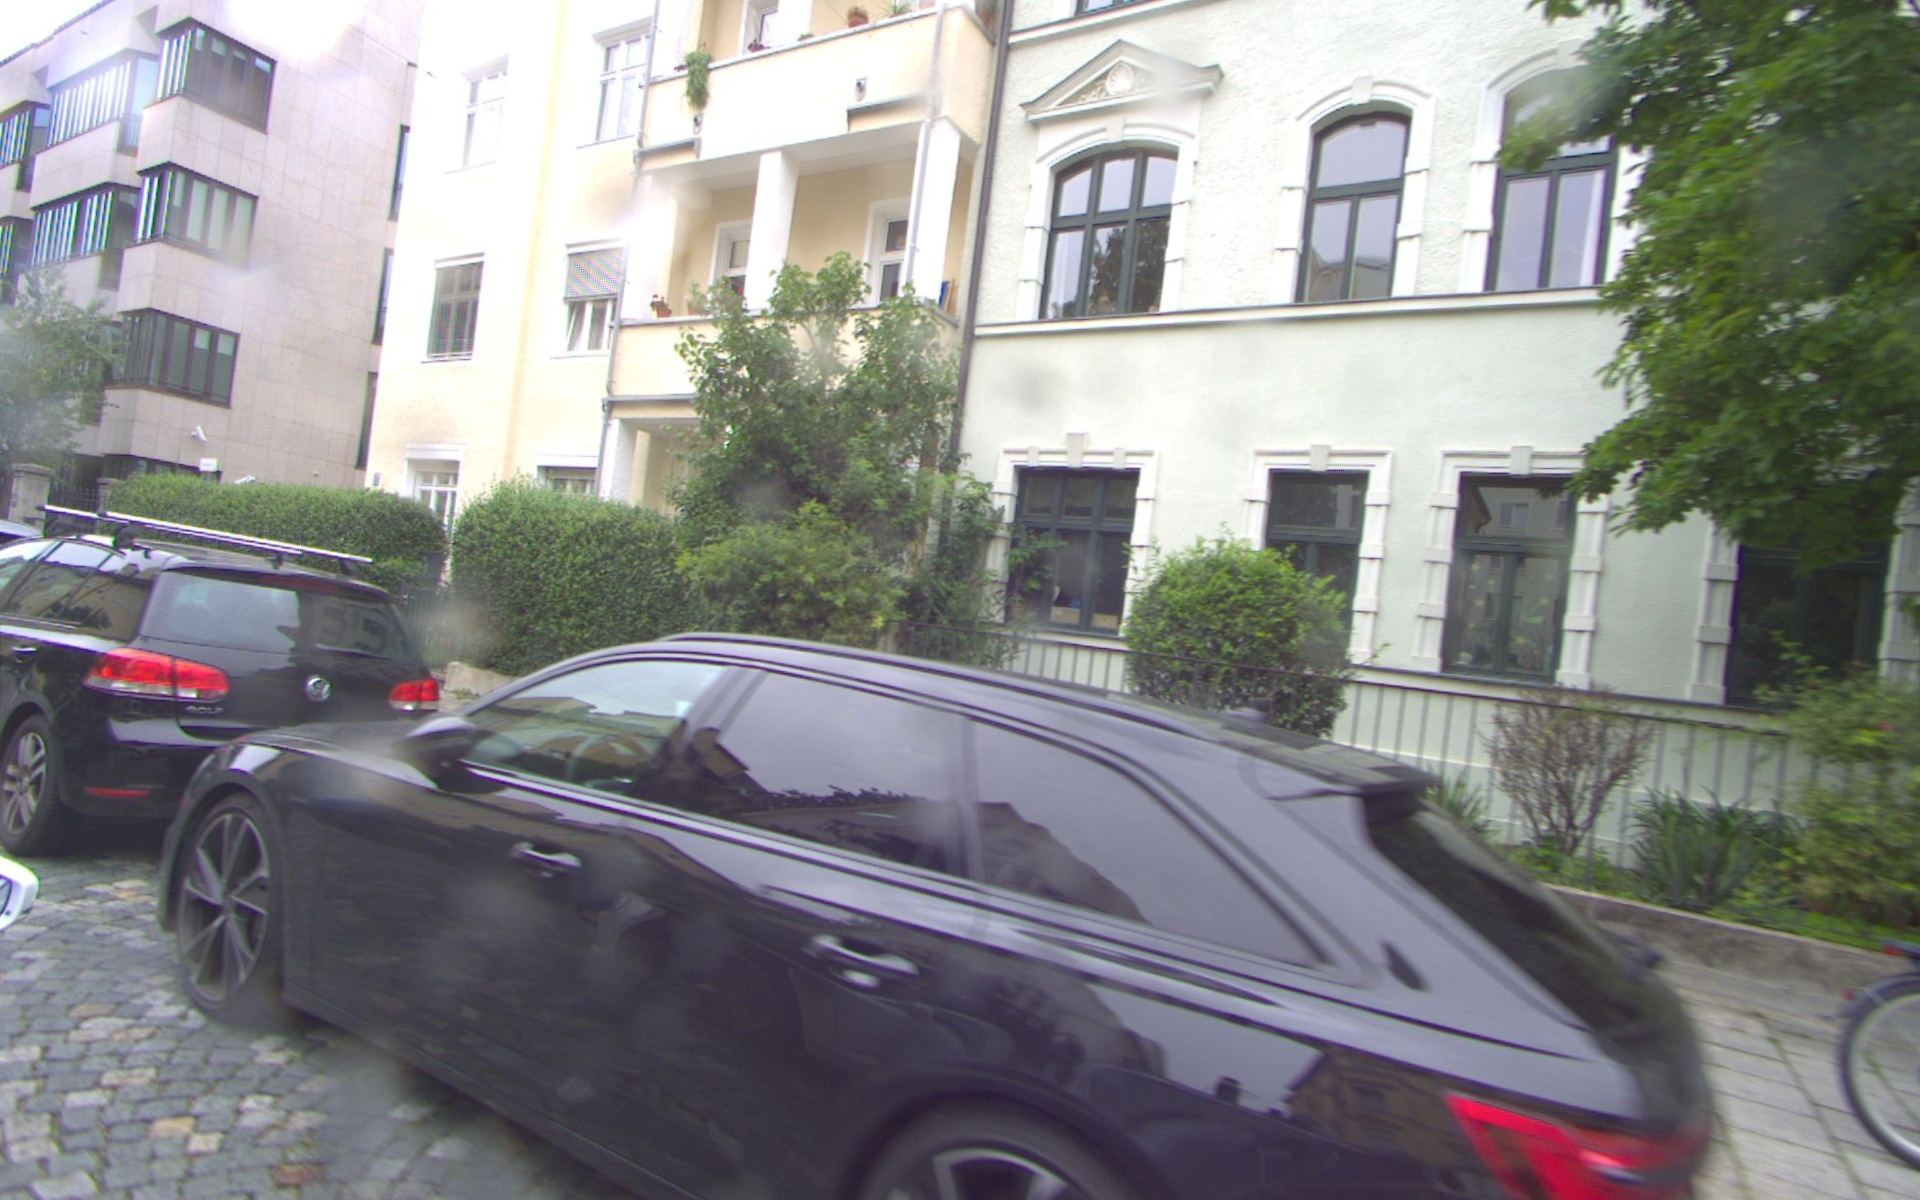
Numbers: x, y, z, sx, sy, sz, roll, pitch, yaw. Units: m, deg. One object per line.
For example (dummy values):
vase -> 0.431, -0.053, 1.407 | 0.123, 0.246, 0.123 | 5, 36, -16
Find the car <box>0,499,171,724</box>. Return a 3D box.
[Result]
car -> -8.932, -0.159, 8.434 | 4.904, 1.569, 1.998 | 6, -3, 33

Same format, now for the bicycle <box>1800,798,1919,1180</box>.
bicycle -> 4.053, 1.451, 3.436 | 1.617, 1.209, 0.582 | 7, -1, 17

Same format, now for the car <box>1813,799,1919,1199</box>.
car -> 3.788, 1.358, 0.582 | 4.735, 1.504, 1.888 | 6, -4, 32

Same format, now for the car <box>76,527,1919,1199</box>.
car -> -0.545, 0.834, 3.124 | 4.967, 1.504, 1.824 | 6, -5, 32

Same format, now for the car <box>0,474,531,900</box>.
car -> -4.793, 0.280, 5.929 | 4.222, 1.672, 1.899 | 6, -3, 31
